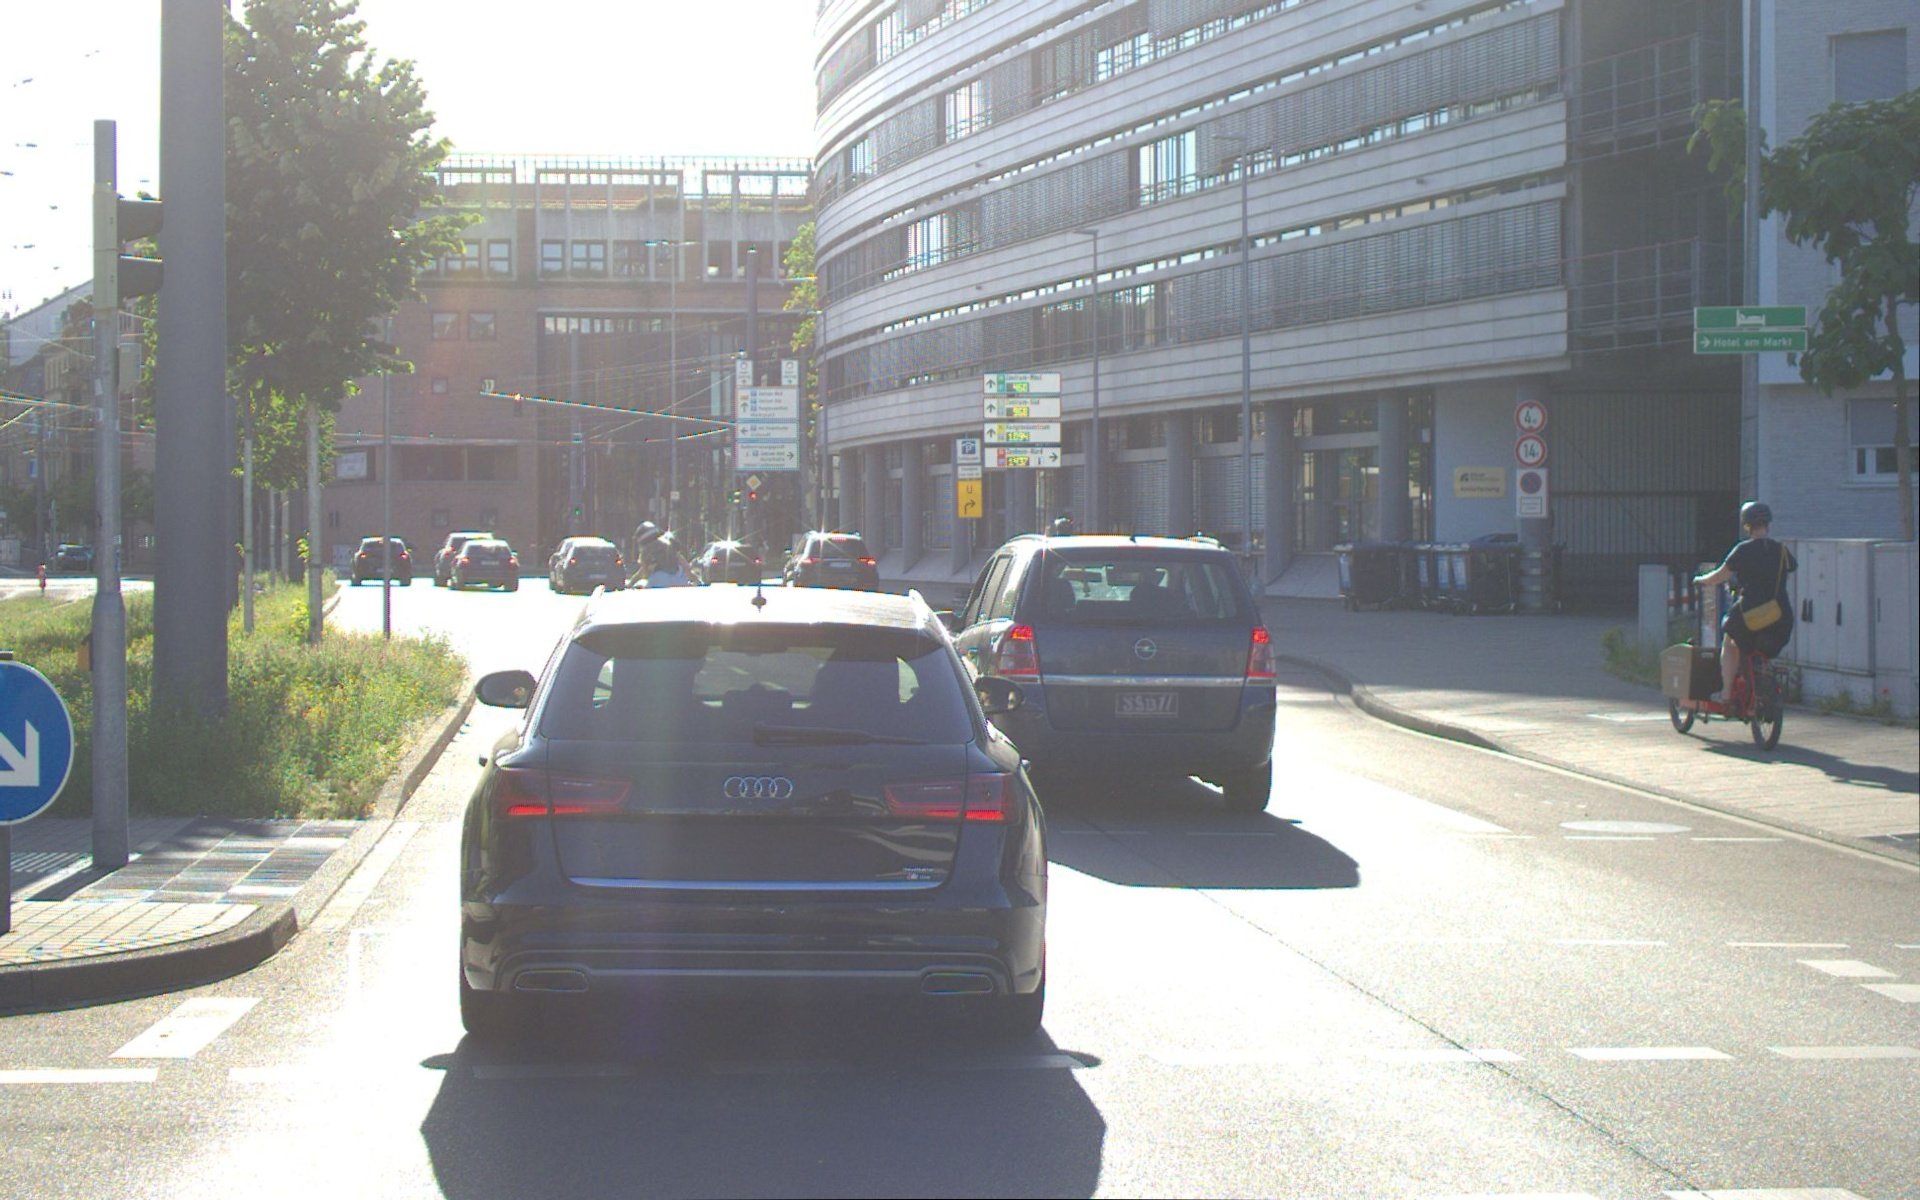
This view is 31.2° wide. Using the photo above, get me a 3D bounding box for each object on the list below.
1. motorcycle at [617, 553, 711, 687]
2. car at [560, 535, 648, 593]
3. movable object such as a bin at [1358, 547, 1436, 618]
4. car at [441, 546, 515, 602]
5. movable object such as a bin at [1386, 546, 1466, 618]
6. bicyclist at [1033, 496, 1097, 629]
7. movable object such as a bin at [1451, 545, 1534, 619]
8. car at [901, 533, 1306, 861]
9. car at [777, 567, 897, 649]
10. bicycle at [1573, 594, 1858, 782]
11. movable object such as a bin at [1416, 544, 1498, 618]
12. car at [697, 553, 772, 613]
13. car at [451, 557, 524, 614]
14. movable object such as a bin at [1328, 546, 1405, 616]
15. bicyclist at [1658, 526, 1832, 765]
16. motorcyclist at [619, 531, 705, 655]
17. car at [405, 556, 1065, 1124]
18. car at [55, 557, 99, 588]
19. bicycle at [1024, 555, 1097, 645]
[{"bbox_3d":[-3.257,0.206,37.656,0.862,1.388,1.894,1,2,-9],"label":"motorcycle"},{"bbox_3d":[-10.008,-1.015,96.455,1.993,1.590,4.001,0,1,-13],"label":"car"},{"bbox_3d":[8.282,-0.345,65.209,1.059,1.327,1.125,0,1,-22],"label":"movable object such as a bin"},{"bbox_3d":[-14.843,-0.816,105.754,1.993,1.700,4.001,0,1,-12],"label":"car"},{"bbox_3d":[8.698,-0.345,64.155,1.059,1.327,1.125,0,1,-22],"label":"movable object such as a bin"},{"bbox_3d":[1.322,-0.483,43.182,0.654,1.637,0.971,1,2,9],"label":"bicyclist"},{"bbox_3d":[9.583,-0.330,61.905,1.059,1.327,1.125,0,1,-22],"label":"movable object such as a bin"},{"bbox_3d":[0.780,0.512,21.516,1.745,1.690,4.262,3,2,-7],"label":"car"},{"bbox_3d":[-3.029,0.174,83.643,2.002,1.709,4.374,2,2,-14],"label":"car"},{"bbox_3d":[5.555,0.622,25.414,0.766,1.258,2.082,0,2,-34],"label":"bicycle"},{"bbox_3d":[9.118,-0.353,63.089,1.059,1.327,1.125,0,1,-22],"label":"movable object such as a bin"},{"bbox_3d":[-7.143,-0.564,108.601,1.993,1.831,4.001,0,1,-9],"label":"car"},{"bbox_3d":[-13.654,-0.435,99.270,1.993,1.590,4.001,0,1,-9],"label":"car"},{"bbox_3d":[7.837,-0.365,66.247,1.059,1.327,1.125,0,1,-22],"label":"movable object such as a bin"},{"bbox_3d":[5.738,0.316,25.151,0.766,1.700,0.930,0,2,-34],"label":"bicyclist"},{"bbox_3d":[-3.256,-0.077,37.527,0.862,1.322,0.681,1,1,-9],"label":"motorcyclist"},{"bbox_3d":[-0.656,0.667,11.905,1.842,1.449,4.001,3,2,0],"label":"car"},{"bbox_3d":[-48.984,-1.548,190.669,1.993,1.700,4.001,0,1,-20],"label":"car"},{"bbox_3d":[1.276,-0.014,43.203,0.654,1.039,1.929,1,2,9],"label":"bicycle"}]
